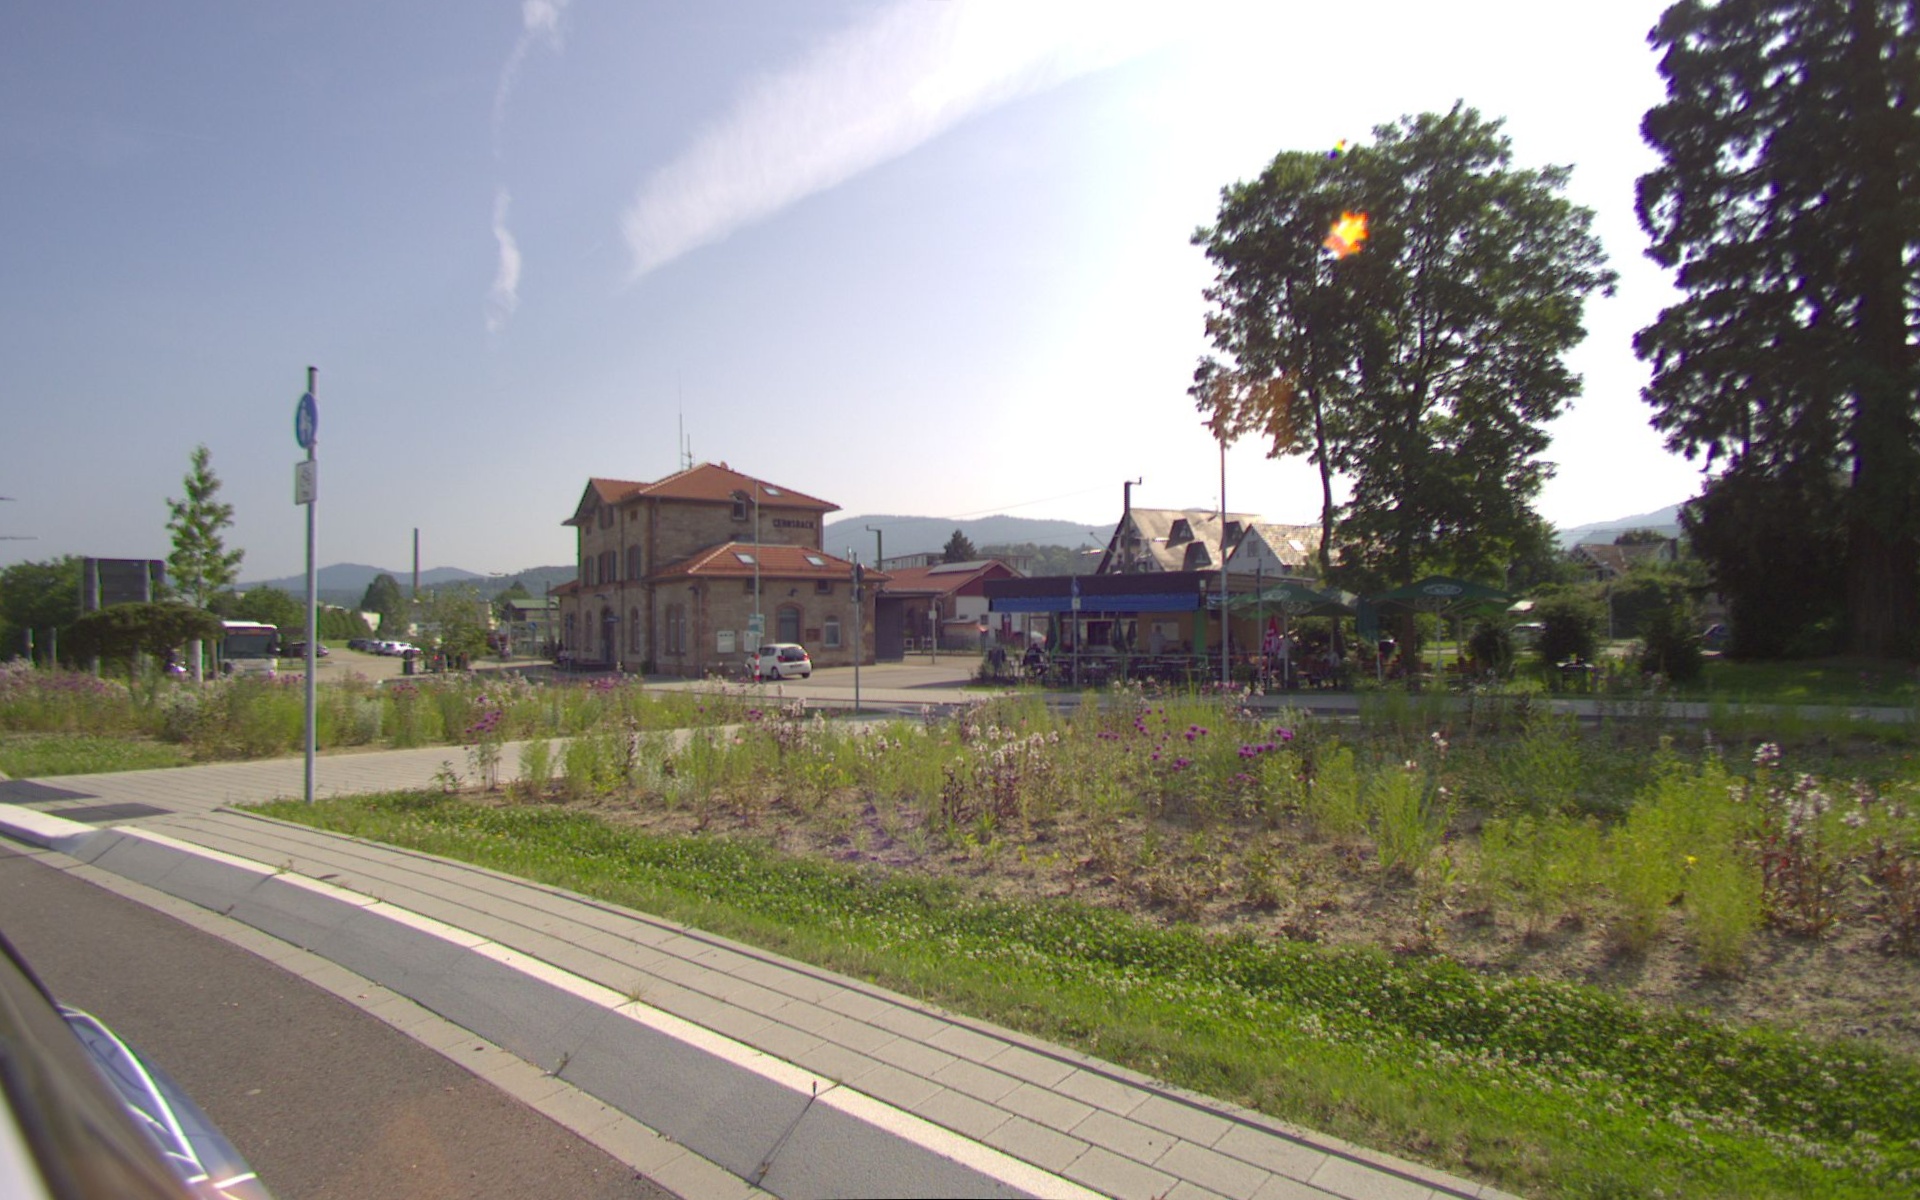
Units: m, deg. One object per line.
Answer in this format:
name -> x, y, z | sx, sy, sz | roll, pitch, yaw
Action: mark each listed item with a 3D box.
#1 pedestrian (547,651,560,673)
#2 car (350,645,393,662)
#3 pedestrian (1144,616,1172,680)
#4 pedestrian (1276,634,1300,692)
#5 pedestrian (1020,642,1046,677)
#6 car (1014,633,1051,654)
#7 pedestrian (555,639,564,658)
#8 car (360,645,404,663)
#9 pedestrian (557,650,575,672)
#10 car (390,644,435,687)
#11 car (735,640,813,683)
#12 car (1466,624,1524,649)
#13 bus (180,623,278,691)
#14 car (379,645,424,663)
pedestrian -> -23.087, 3.524, 57.464 | 0.504, 1.171, 0.507 | -3, 0, -35
car -> -68.940, 6.289, 118.536 | 1.834, 1.740, 3.953 | -3, 0, 35
pedestrian -> 6.497, 1.578, 33.197 | 0.704, 2.029, 0.853 | -3, 0, 20
pedestrian -> 9.343, 1.797, 28.852 | 0.564, 1.602, 0.646 | -3, 0, 20
pedestrian -> 2.541, 2.089, 35.282 | 0.678, 1.172, 0.553 | -3, 0, 31
car -> 6.051, 3.604, 84.715 | 1.579, 1.506, 3.663 | -2, 1, -21
pedestrian -> -24.648, 2.975, 62.248 | 0.366, 1.171, 0.507 | -2, 0, -35
car -> -65.704, 6.141, 115.070 | 1.834, 1.740, 3.953 | -3, 0, 35
pedestrian -> -21.681, 3.349, 55.674 | 0.778, 1.171, 0.507 | -3, 0, -36
car -> -29.667, 3.493, 54.948 | 1.944, 1.979, 5.174 | -3, 0, -27
car -> -8.006, 2.592, 43.410 | 1.654, 1.580, 3.656 | -3, 1, -41
car -> 31.082, 2.119, 58.727 | 3.474, 1.186, 1.502 | -3, -1, -35
bus -> -40.663, 3.095, 56.099 | 10.592, 3.354, 2.551 | -3, 0, 45
car -> -61.919, 5.965, 112.196 | 1.834, 1.740, 3.953 | -3, 0, 35
